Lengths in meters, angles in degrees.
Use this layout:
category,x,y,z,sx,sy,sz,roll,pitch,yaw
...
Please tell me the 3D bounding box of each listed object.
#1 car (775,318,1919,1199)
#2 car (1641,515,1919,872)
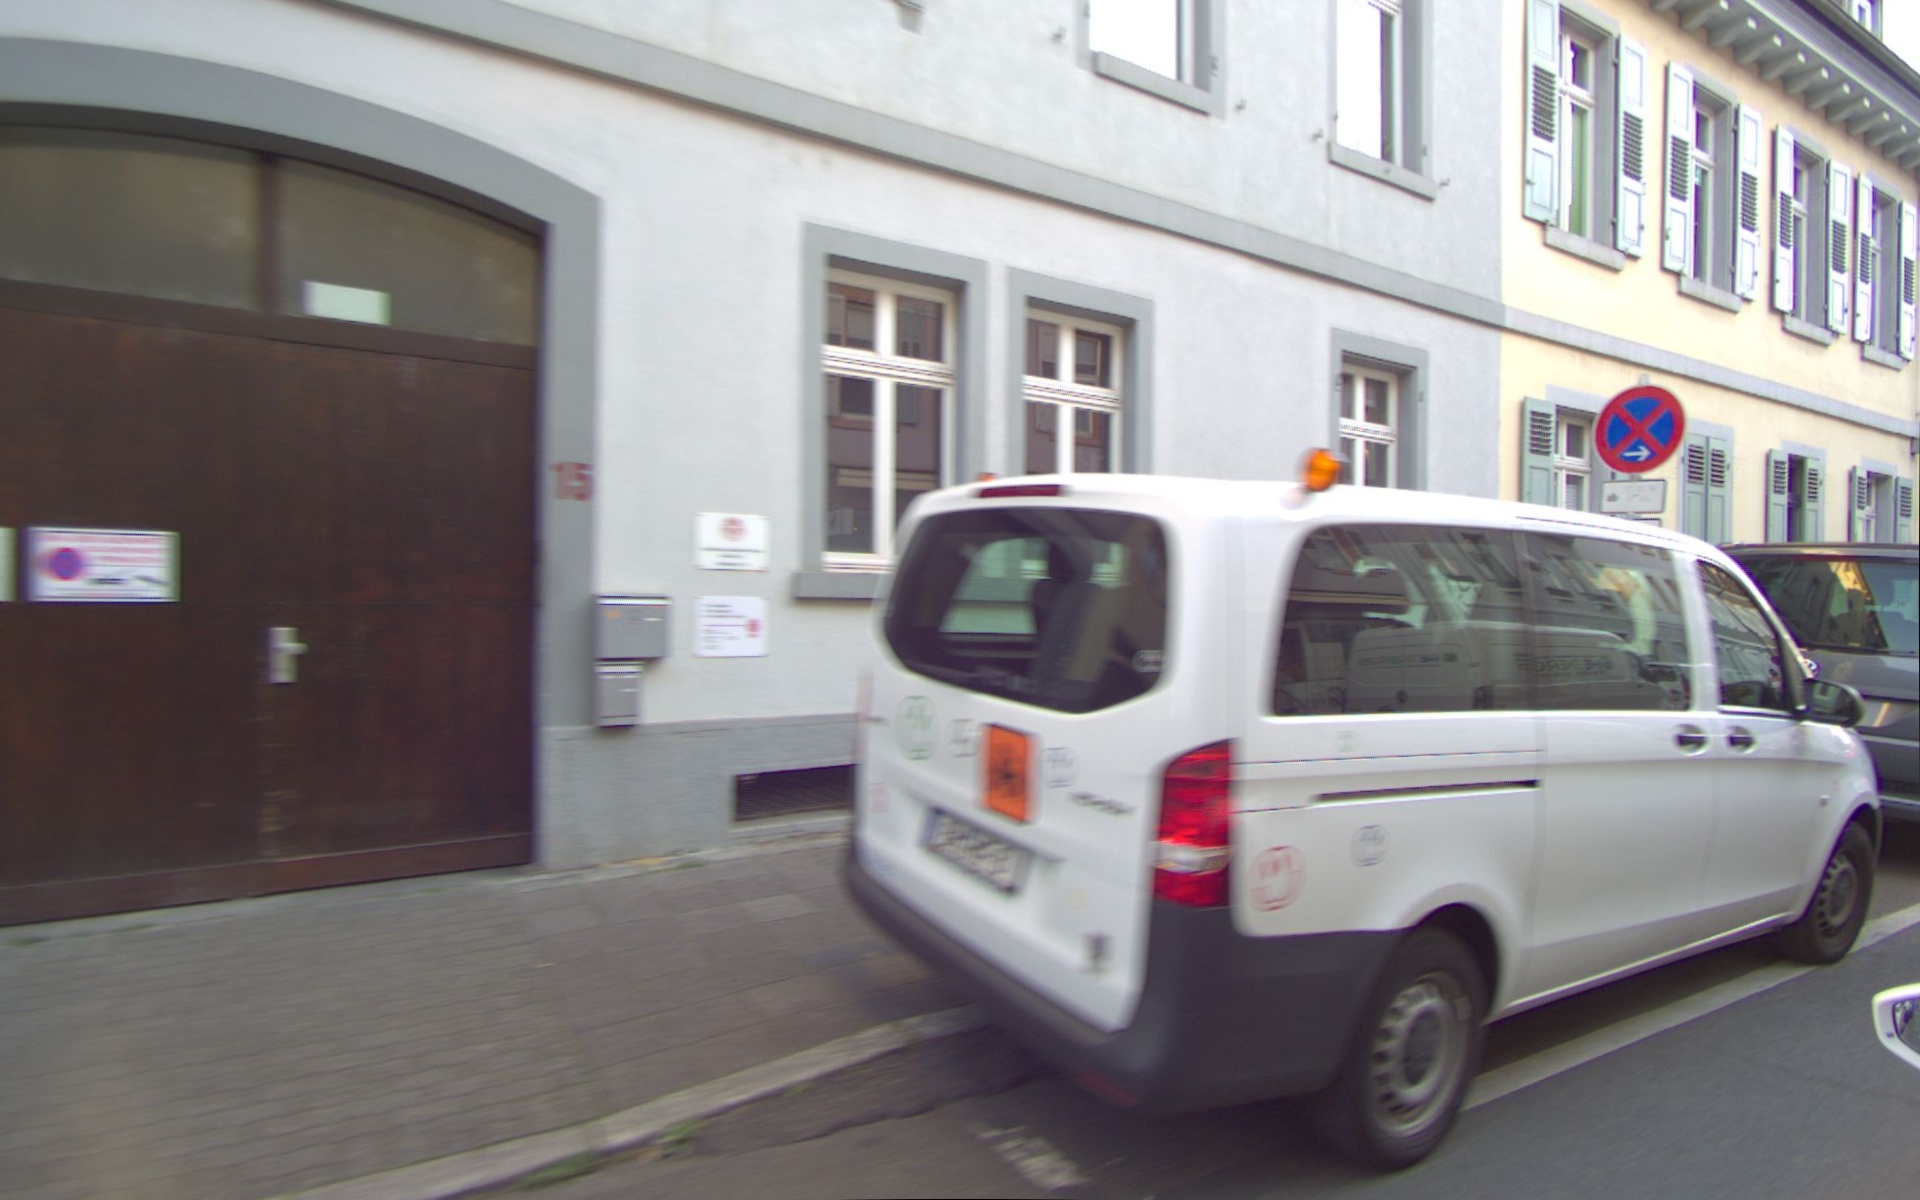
category,x,y,z,sx,sy,sz,roll,pitch,yaw
car,1.967,0.513,4.117,5.050,2.040,1.852,1,-1,-33
car,7.215,0.572,7.471,4.761,2.040,1.852,1,-1,-33
